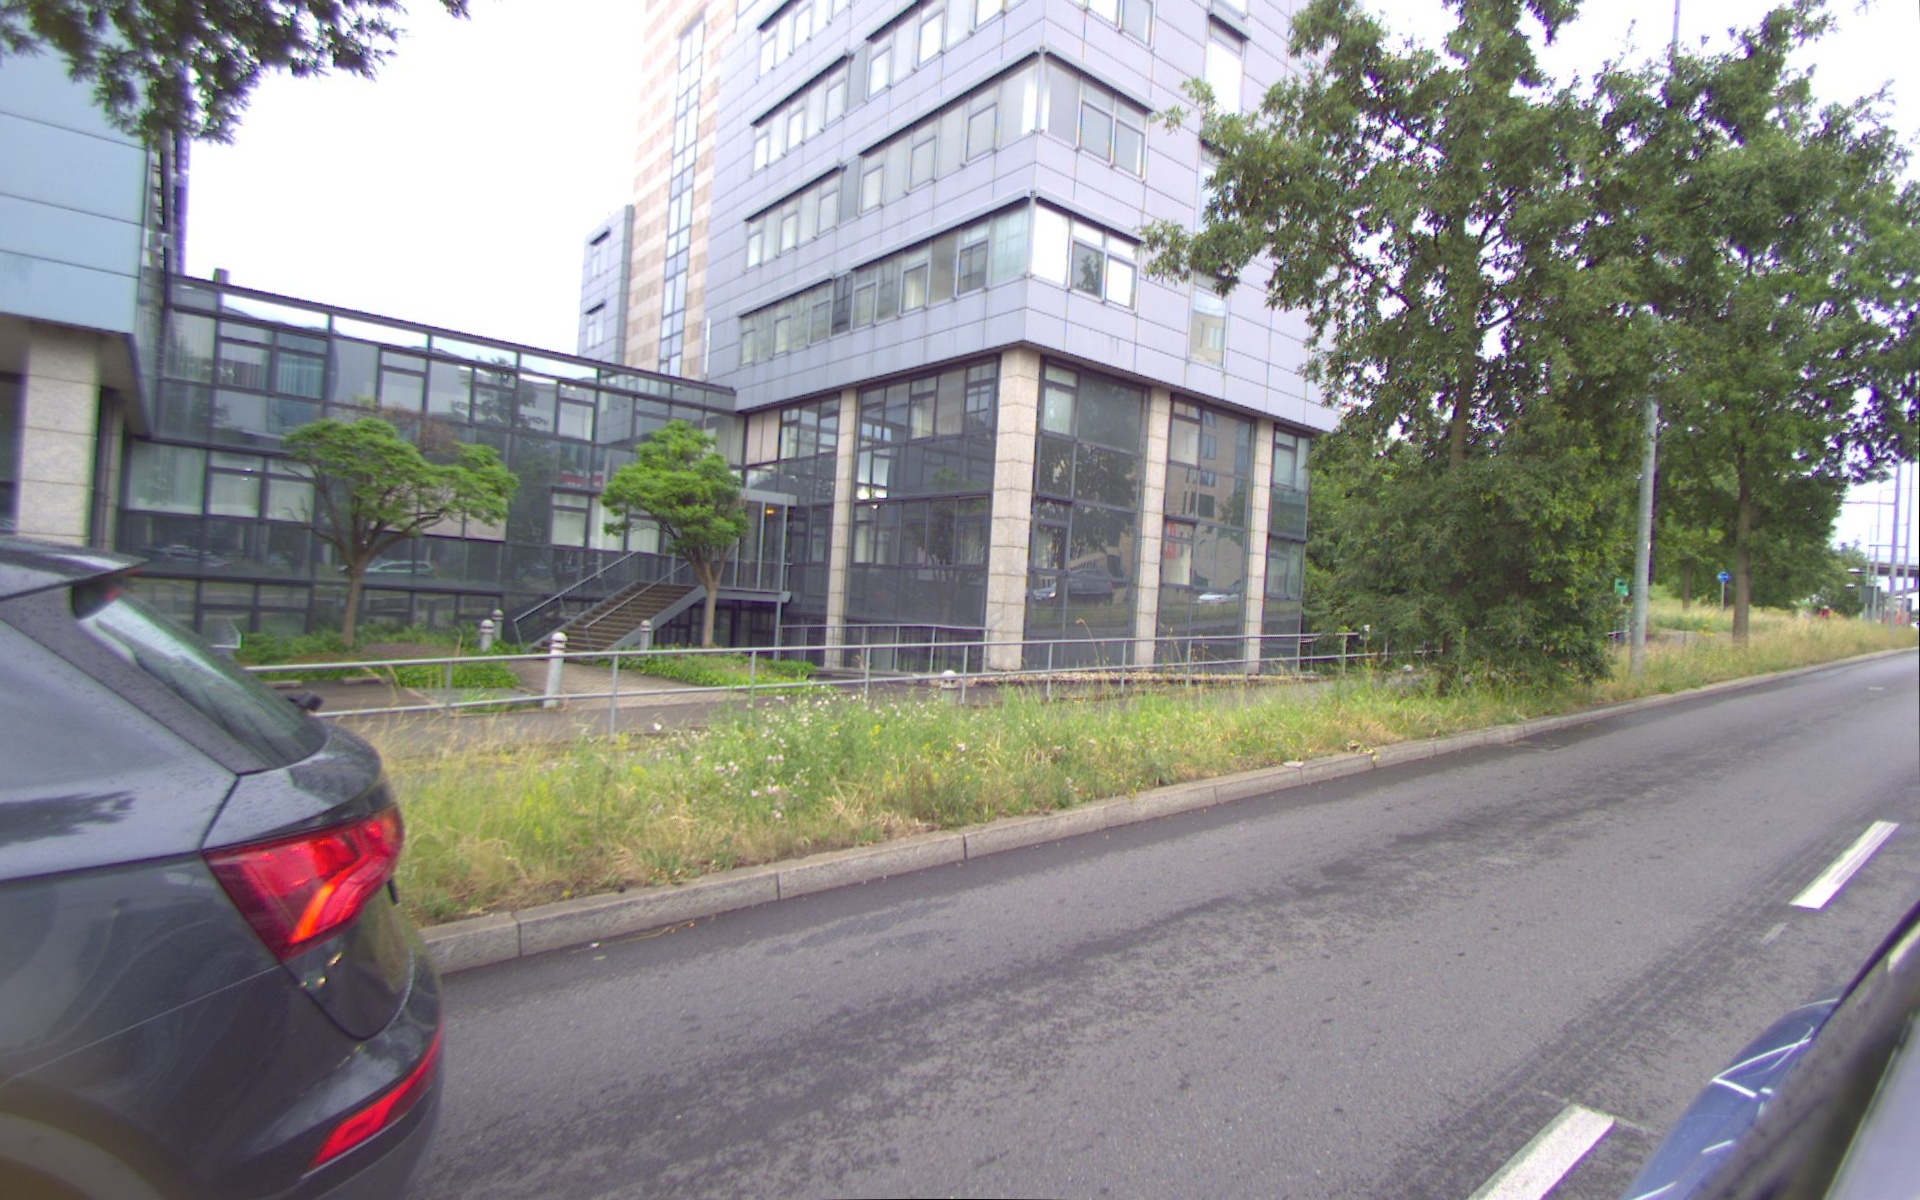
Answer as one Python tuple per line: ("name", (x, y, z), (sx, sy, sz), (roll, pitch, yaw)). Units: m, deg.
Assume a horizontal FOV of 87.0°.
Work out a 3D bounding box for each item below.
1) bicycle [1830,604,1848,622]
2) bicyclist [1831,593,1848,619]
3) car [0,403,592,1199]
("bicycle", (54.035, 0.810, 62.209), (1.872, 1.102, 0.581), (1, -1, -41))
("bicyclist", (54.055, 0.365, 62.190), (0.839, 1.599, 0.647), (1, -1, -41))
("car", (-2.898, 0.546, 1.026), (4.392, 1.633, 1.821), (0, 1, -41))
